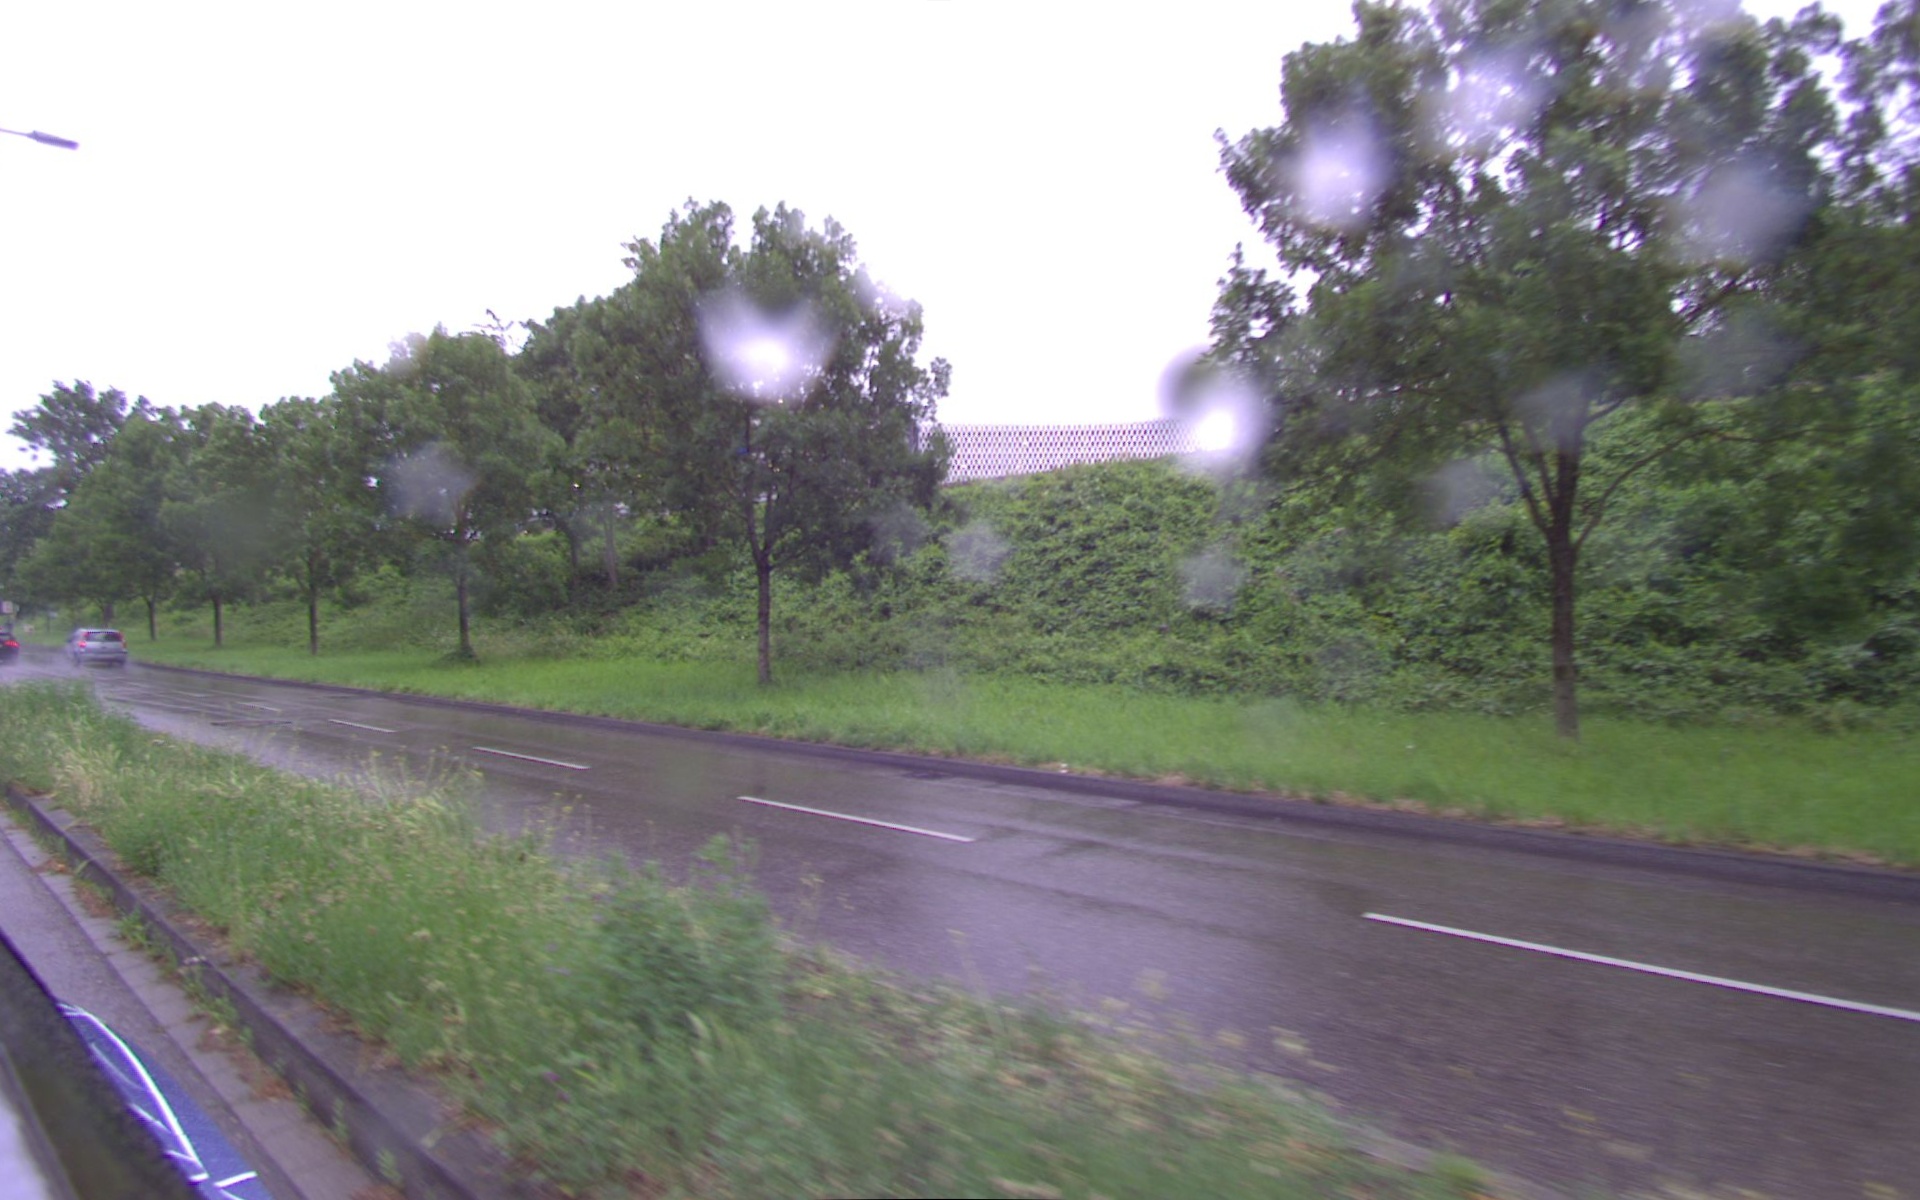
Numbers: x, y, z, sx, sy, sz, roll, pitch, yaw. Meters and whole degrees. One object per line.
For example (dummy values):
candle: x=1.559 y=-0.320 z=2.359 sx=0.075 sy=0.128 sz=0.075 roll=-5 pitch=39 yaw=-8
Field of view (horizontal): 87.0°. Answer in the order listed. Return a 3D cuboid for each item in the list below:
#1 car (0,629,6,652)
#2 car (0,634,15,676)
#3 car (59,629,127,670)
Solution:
car: x=-66.933 y=2.752 z=69.399 sx=4.438 sy=1.513 sz=1.816 roll=-1 pitch=-4 yaw=42
car: x=-40.368 y=2.238 z=41.935 sx=1.700 sy=1.630 sz=4.349 roll=2 pitch=-2 yaw=-44
car: x=-36.293 y=2.035 z=42.325 sx=3.847 sy=1.630 sz=1.677 roll=-1 pitch=-2 yaw=42
